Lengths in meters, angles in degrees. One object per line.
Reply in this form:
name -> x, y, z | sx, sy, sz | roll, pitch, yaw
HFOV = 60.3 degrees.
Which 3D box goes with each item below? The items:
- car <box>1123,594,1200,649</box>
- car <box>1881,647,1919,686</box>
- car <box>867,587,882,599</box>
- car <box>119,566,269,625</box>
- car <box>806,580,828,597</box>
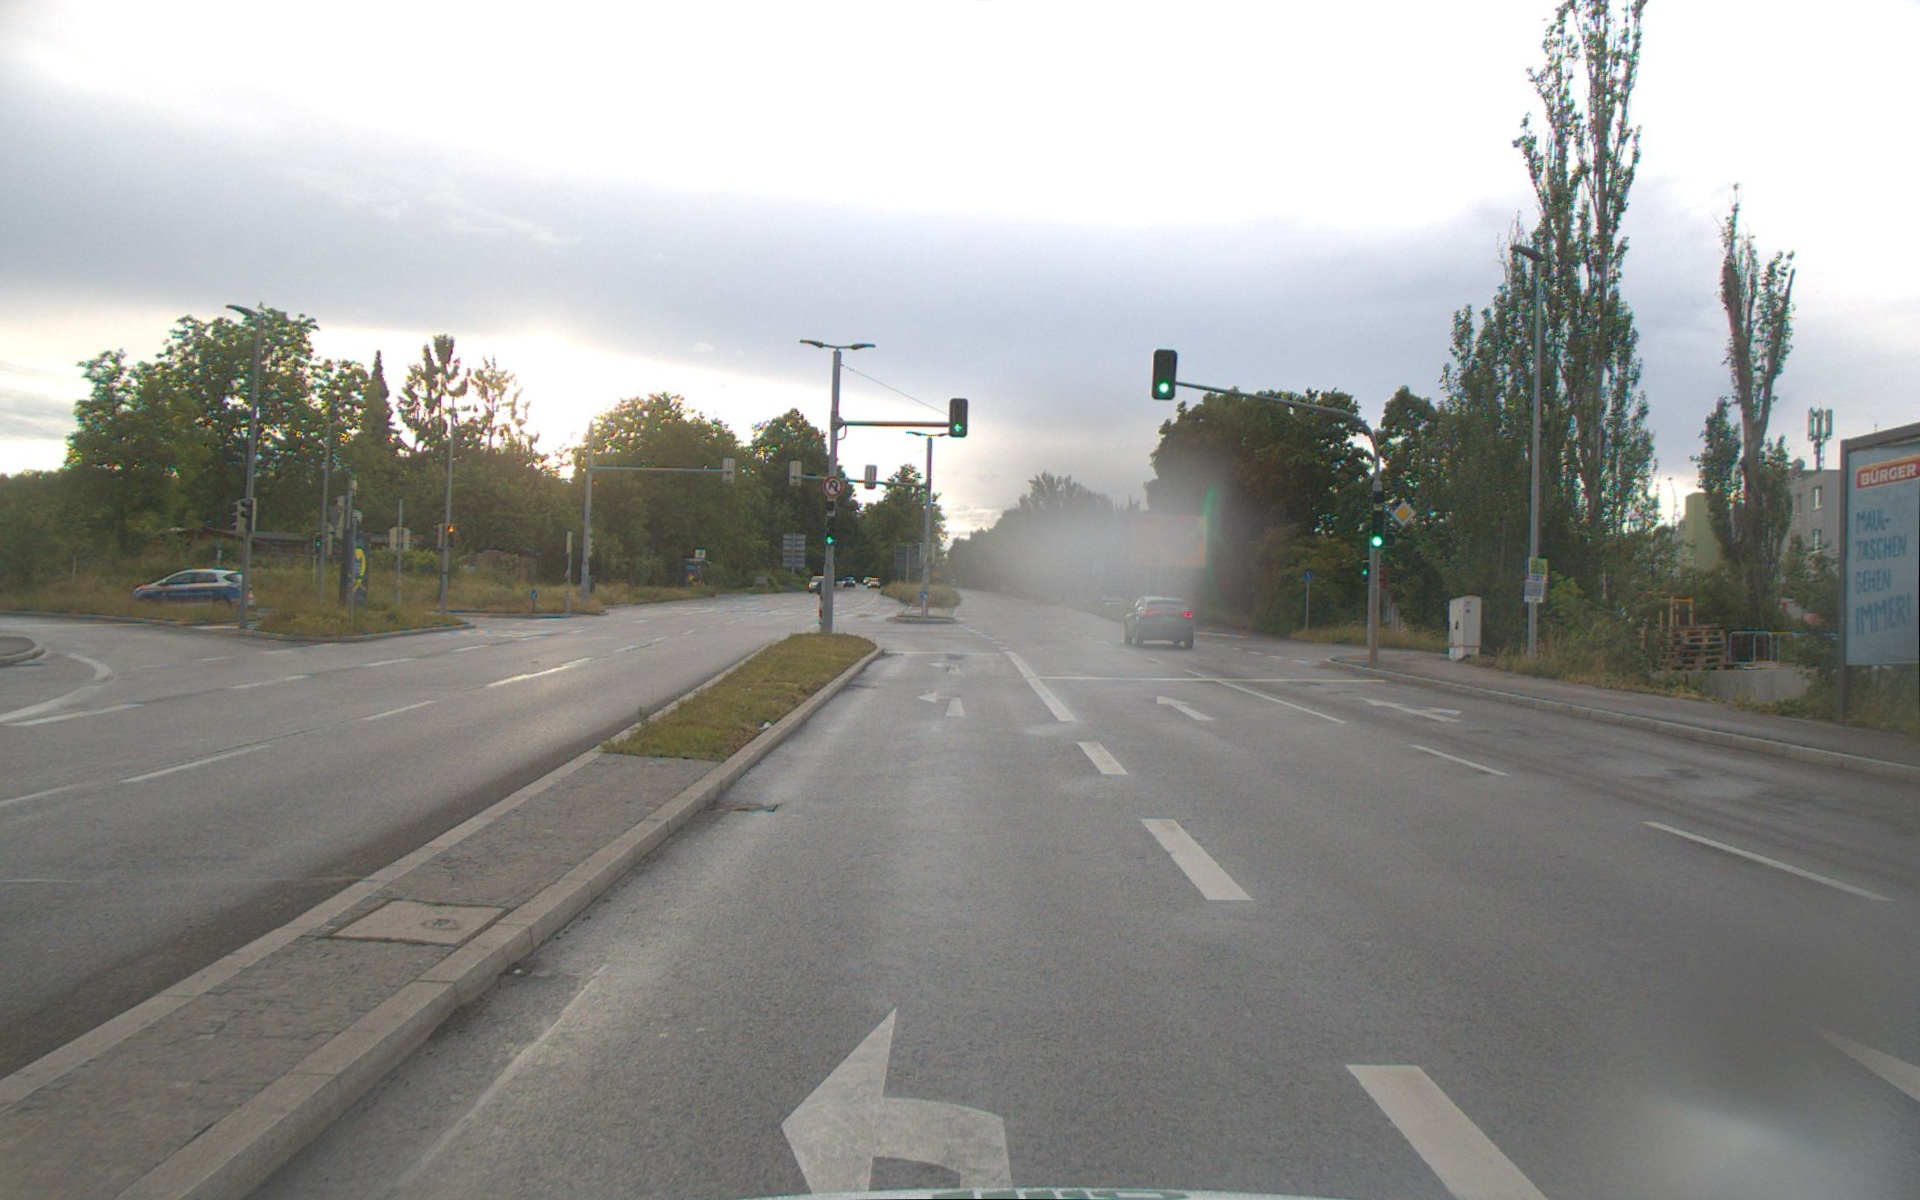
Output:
car -> 6.008, 0.616, 49.769 | 1.709, 1.495, 4.165 | 2, 0, -1
car -> 42.057, 2.928, 71.424 | 3.794, 1.591, 1.515 | 2, 0, -8
car -> -11.723, -1.026, 228.224 | 1.855, 1.561, 4.488 | 2, 0, -1
car -> -26.650, -0.139, 57.644 | 4.099, 1.748, 2.083 | 4, -2, 0
car -> -14.264, -1.123, 165.156 | 1.733, 1.624, 4.488 | 2, 0, -1
